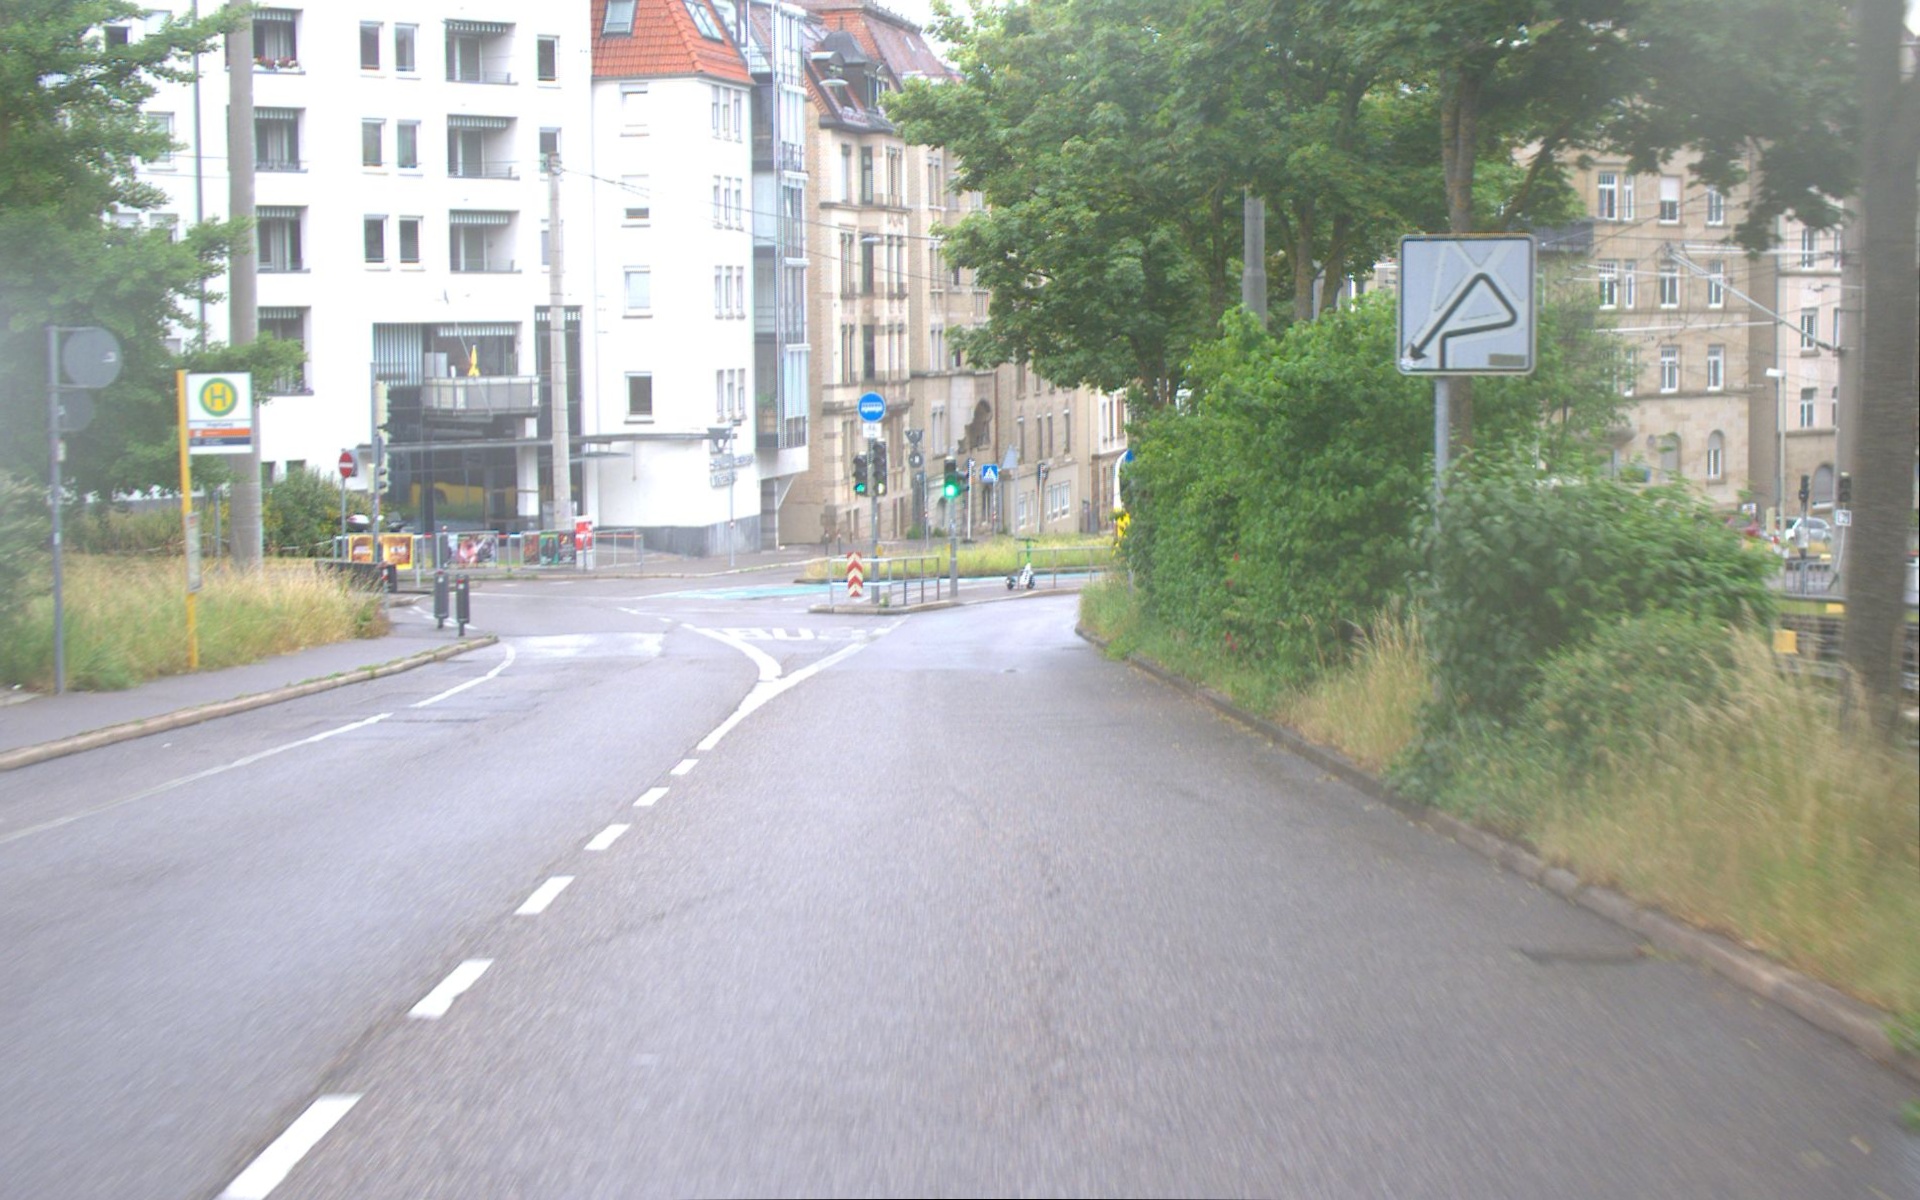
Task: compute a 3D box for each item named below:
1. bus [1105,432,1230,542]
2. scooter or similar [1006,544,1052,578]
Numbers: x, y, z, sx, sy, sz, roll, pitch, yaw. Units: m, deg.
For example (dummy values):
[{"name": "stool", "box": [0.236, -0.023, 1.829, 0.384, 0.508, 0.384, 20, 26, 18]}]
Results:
[{"name": "bus", "box": [5.568, -2.993, 91.851, 1.996, 2.861, 3.995, 0, 1, 25]}, {"name": "scooter or similar", "box": [1.544, -0.879, 76.985, 0.485, 0.759, 1.328, 0, 1, 27]}]
